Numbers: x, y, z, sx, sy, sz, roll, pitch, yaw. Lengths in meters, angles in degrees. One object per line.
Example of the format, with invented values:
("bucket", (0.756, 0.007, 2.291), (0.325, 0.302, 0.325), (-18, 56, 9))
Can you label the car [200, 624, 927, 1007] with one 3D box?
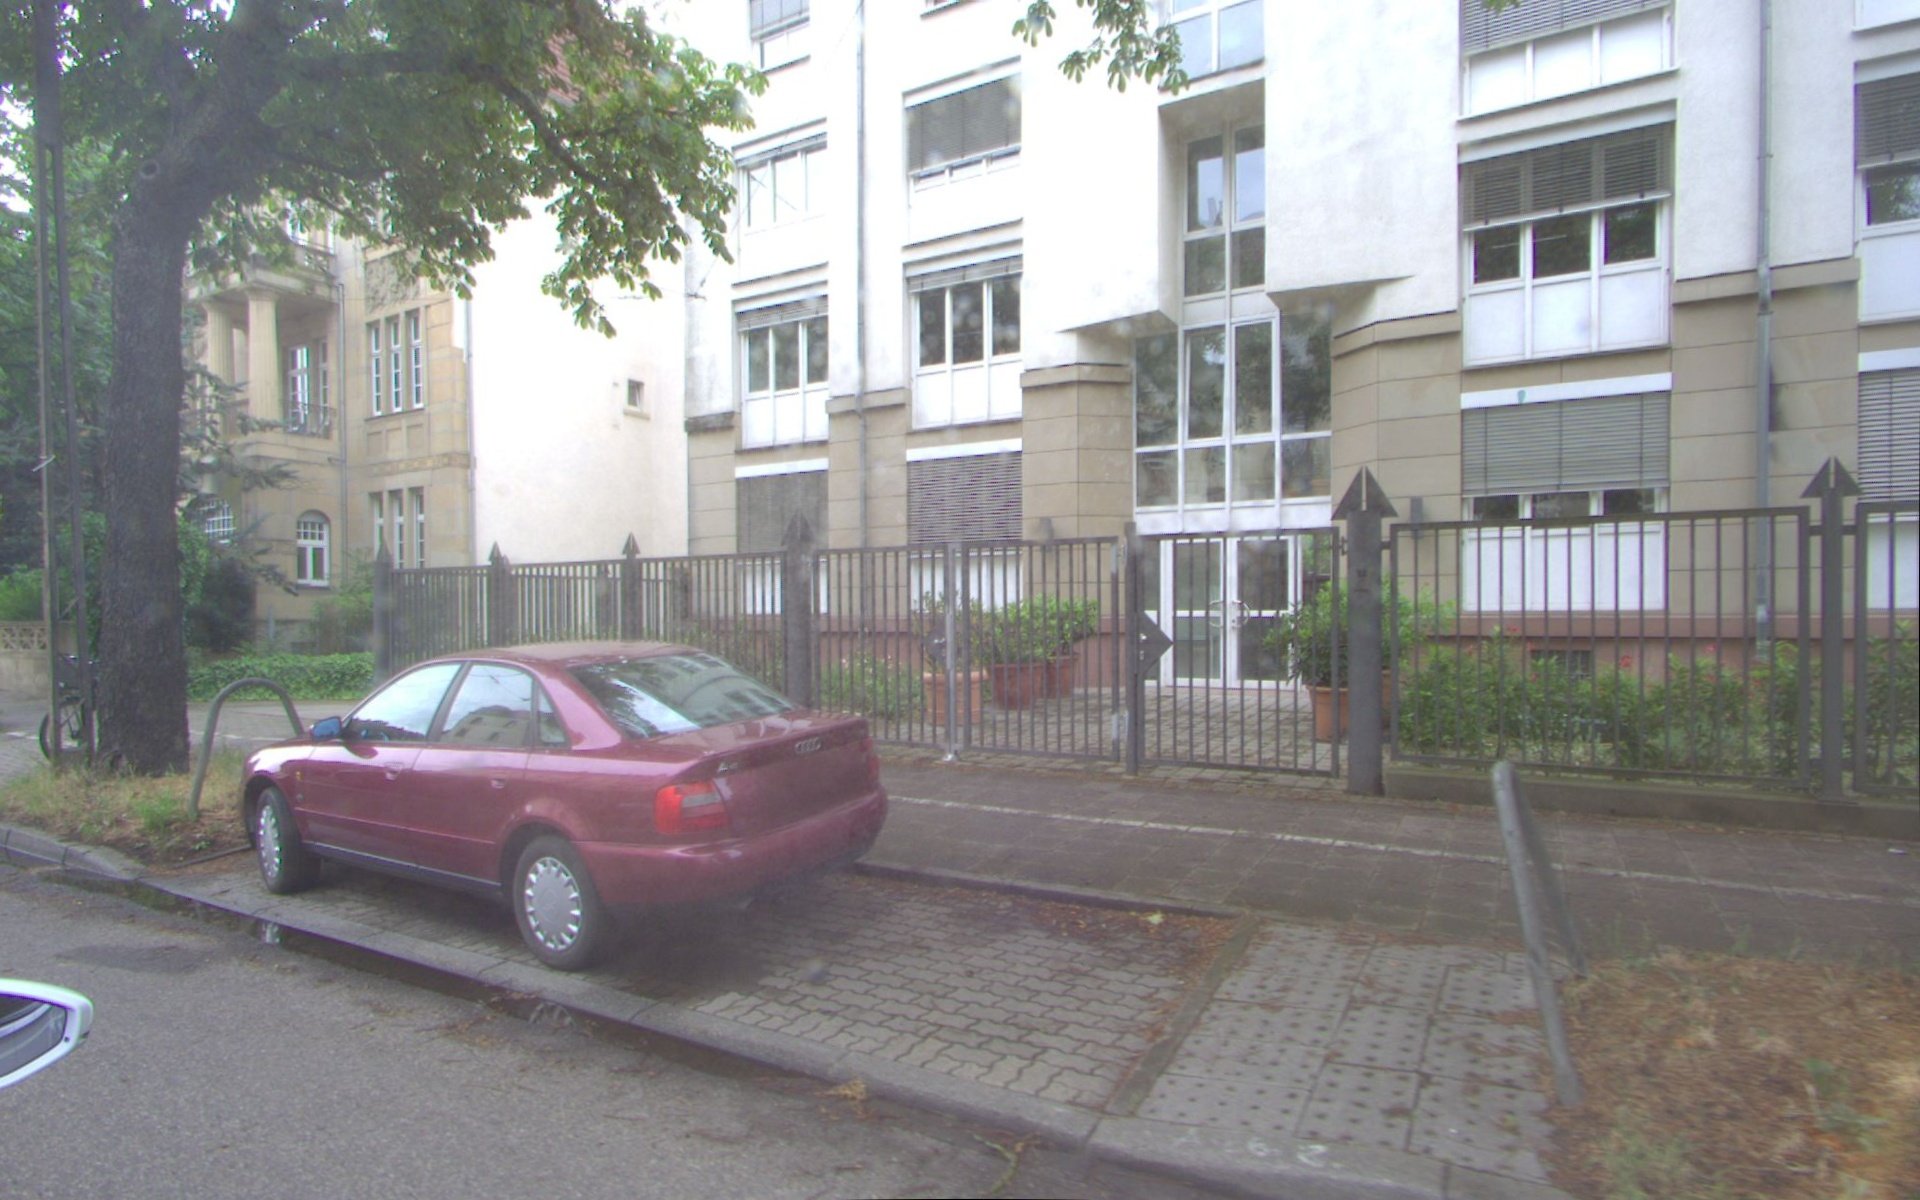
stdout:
("car", (-2.377, 0.894, 5.682), (4.164, 1.418, 1.599), (0, 2, 31))

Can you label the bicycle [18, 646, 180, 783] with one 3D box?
("bicycle", (-8.585, 1.083, 10.078), (0.425, 1.213, 1.902), (0, -2, -14))
